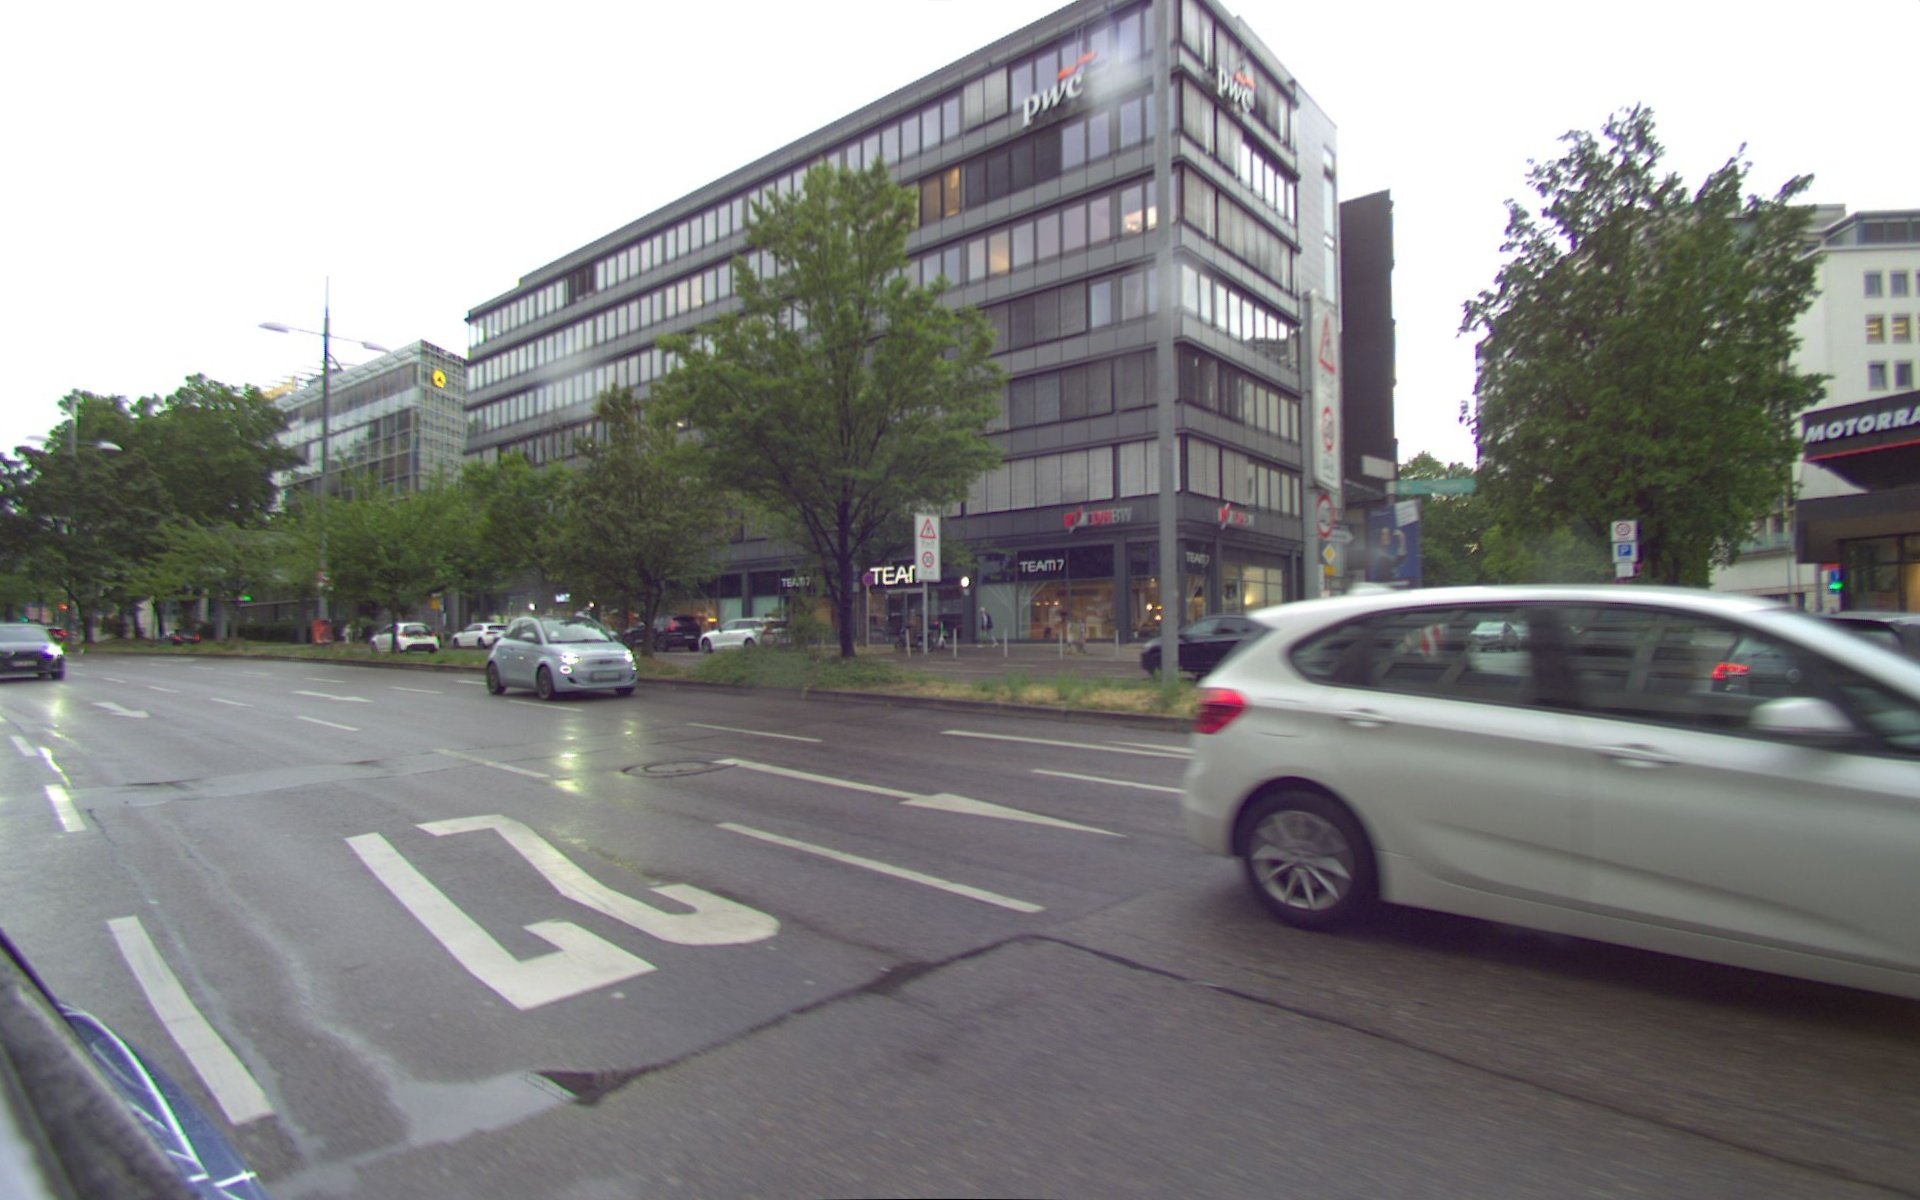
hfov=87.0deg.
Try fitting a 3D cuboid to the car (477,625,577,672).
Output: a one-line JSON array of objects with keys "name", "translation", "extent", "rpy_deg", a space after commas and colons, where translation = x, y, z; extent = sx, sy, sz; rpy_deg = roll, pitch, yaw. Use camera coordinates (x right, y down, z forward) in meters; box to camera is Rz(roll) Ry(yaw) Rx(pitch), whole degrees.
[{"name": "car", "translation": [-17.489, 1.929, 40.754], "extent": [4.486, 1.741, 1.721], "rpy_deg": [-2, -1, 38]}]

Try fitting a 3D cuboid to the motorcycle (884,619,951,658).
[{"name": "motorcycle", "translation": [-1.590, 1.437, 38.104], "extent": [2.347, 1.404, 0.856], "rpy_deg": [-1, 2, 14]}]

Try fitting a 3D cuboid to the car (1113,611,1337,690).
[{"name": "car", "translation": [5.766, 1.071, 22.486], "extent": [1.968, 1.556, 4.489], "rpy_deg": [1, -2, -40]}]

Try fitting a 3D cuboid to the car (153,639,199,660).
[{"name": "car", "translation": [-59.568, 3.759, 76.854], "extent": [4.295, 1.487, 1.791], "rpy_deg": [-2, -2, 38]}]

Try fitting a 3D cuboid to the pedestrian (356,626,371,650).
[{"name": "pedestrian", "translation": [-46.426, 2.945, 78.796], "extent": [0.924, 1.846, 0.720], "rpy_deg": [-1, -1, 40]}]

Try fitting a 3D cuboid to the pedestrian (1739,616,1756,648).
[{"name": "pedestrian", "translation": [49.128, 1.986, 63.127], "extent": [0.729, 1.937, 0.912], "rpy_deg": [-2, -2, 41]}]

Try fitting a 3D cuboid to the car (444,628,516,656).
[{"name": "car", "translation": [-26.447, 2.292, 55.714], "extent": [4.303, 1.455, 1.792], "rpy_deg": [-2, -1, 37]}]

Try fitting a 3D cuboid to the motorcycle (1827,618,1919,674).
[{"name": "motorcycle", "translation": [23.717, 1.154, 25.902], "extent": [2.774, 1.343, 0.725], "rpy_deg": [-1, -1, -12]}]

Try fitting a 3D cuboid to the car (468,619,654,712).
[{"name": "car", "translation": [-7.616, 1.177, 19.192], "extent": [3.688, 1.585, 1.765], "rpy_deg": [-2, -2, 40]}]

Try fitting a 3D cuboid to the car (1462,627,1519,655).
[{"name": "car", "translation": [27.726, 2.124, 52.847], "extent": [1.845, 1.298, 3.947], "rpy_deg": [-1, -1, 39]}]

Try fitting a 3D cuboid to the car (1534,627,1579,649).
[{"name": "car", "translation": [38.750, 2.423, 65.697], "extent": [1.846, 1.298, 3.946], "rpy_deg": [-1, -1, 41]}]

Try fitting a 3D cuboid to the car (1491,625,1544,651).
[{"name": "car", "translation": [31.443, 2.110, 57.033], "extent": [1.846, 1.298, 3.946], "rpy_deg": [-1, -1, 41]}]

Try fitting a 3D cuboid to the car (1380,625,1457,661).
[{"name": "car", "translation": [18.666, 1.723, 41.115], "extent": [1.846, 1.298, 3.946], "rpy_deg": [-1, -1, 40]}]

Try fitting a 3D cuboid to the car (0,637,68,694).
[{"name": "car", "translation": [-26.393, 1.775, 28.097], "extent": [4.286, 1.446, 1.916], "rpy_deg": [-2, -2, 42]}]

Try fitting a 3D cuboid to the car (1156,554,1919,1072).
[{"name": "car", "translation": [3.124, 0.675, 4.151], "extent": [4.289, 1.585, 1.763], "rpy_deg": [-2, -2, 44]}]

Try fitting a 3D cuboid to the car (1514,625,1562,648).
[{"name": "car", "translation": [35.218, 2.204, 61.642], "extent": [1.846, 1.298, 3.946], "rpy_deg": [-1, -1, 41]}]

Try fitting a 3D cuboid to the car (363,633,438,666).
[{"name": "car", "translation": [-26.257, 2.297, 47.453], "extent": [4.078, 1.442, 1.666], "rpy_deg": [-2, -2, 39]}]

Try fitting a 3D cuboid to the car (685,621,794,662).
[{"name": "car", "translation": [-9.021, 1.659, 41.230], "extent": [4.769, 1.496, 1.790], "rpy_deg": [-2, 1, 40]}]

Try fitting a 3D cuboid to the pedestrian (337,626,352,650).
[{"name": "pedestrian", "translation": [-47.073, 2.929, 77.434], "extent": [0.924, 1.812, 0.720], "rpy_deg": [-1, -1, 40]}]

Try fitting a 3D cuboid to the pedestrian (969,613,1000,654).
[{"name": "pedestrian", "translation": [0.982, 1.341, 40.936], "extent": [0.965, 1.650, 0.776], "rpy_deg": [-2, -2, 40]}]

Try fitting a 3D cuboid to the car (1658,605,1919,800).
[{"name": "car", "translation": [8.933, 0.808, 9.205], "extent": [4.607, 1.462, 1.850], "rpy_deg": [1, -2, -19]}]

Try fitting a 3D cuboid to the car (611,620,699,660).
[{"name": "car", "translation": [-13.660, 1.777, 45.254], "extent": [4.308, 1.673, 1.789], "rpy_deg": [-2, -1, 42]}]

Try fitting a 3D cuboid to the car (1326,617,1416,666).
[{"name": "car", "translation": [15.338, 1.493, 37.701], "extent": [1.998, 1.652, 3.947], "rpy_deg": [-1, -1, 40]}]
